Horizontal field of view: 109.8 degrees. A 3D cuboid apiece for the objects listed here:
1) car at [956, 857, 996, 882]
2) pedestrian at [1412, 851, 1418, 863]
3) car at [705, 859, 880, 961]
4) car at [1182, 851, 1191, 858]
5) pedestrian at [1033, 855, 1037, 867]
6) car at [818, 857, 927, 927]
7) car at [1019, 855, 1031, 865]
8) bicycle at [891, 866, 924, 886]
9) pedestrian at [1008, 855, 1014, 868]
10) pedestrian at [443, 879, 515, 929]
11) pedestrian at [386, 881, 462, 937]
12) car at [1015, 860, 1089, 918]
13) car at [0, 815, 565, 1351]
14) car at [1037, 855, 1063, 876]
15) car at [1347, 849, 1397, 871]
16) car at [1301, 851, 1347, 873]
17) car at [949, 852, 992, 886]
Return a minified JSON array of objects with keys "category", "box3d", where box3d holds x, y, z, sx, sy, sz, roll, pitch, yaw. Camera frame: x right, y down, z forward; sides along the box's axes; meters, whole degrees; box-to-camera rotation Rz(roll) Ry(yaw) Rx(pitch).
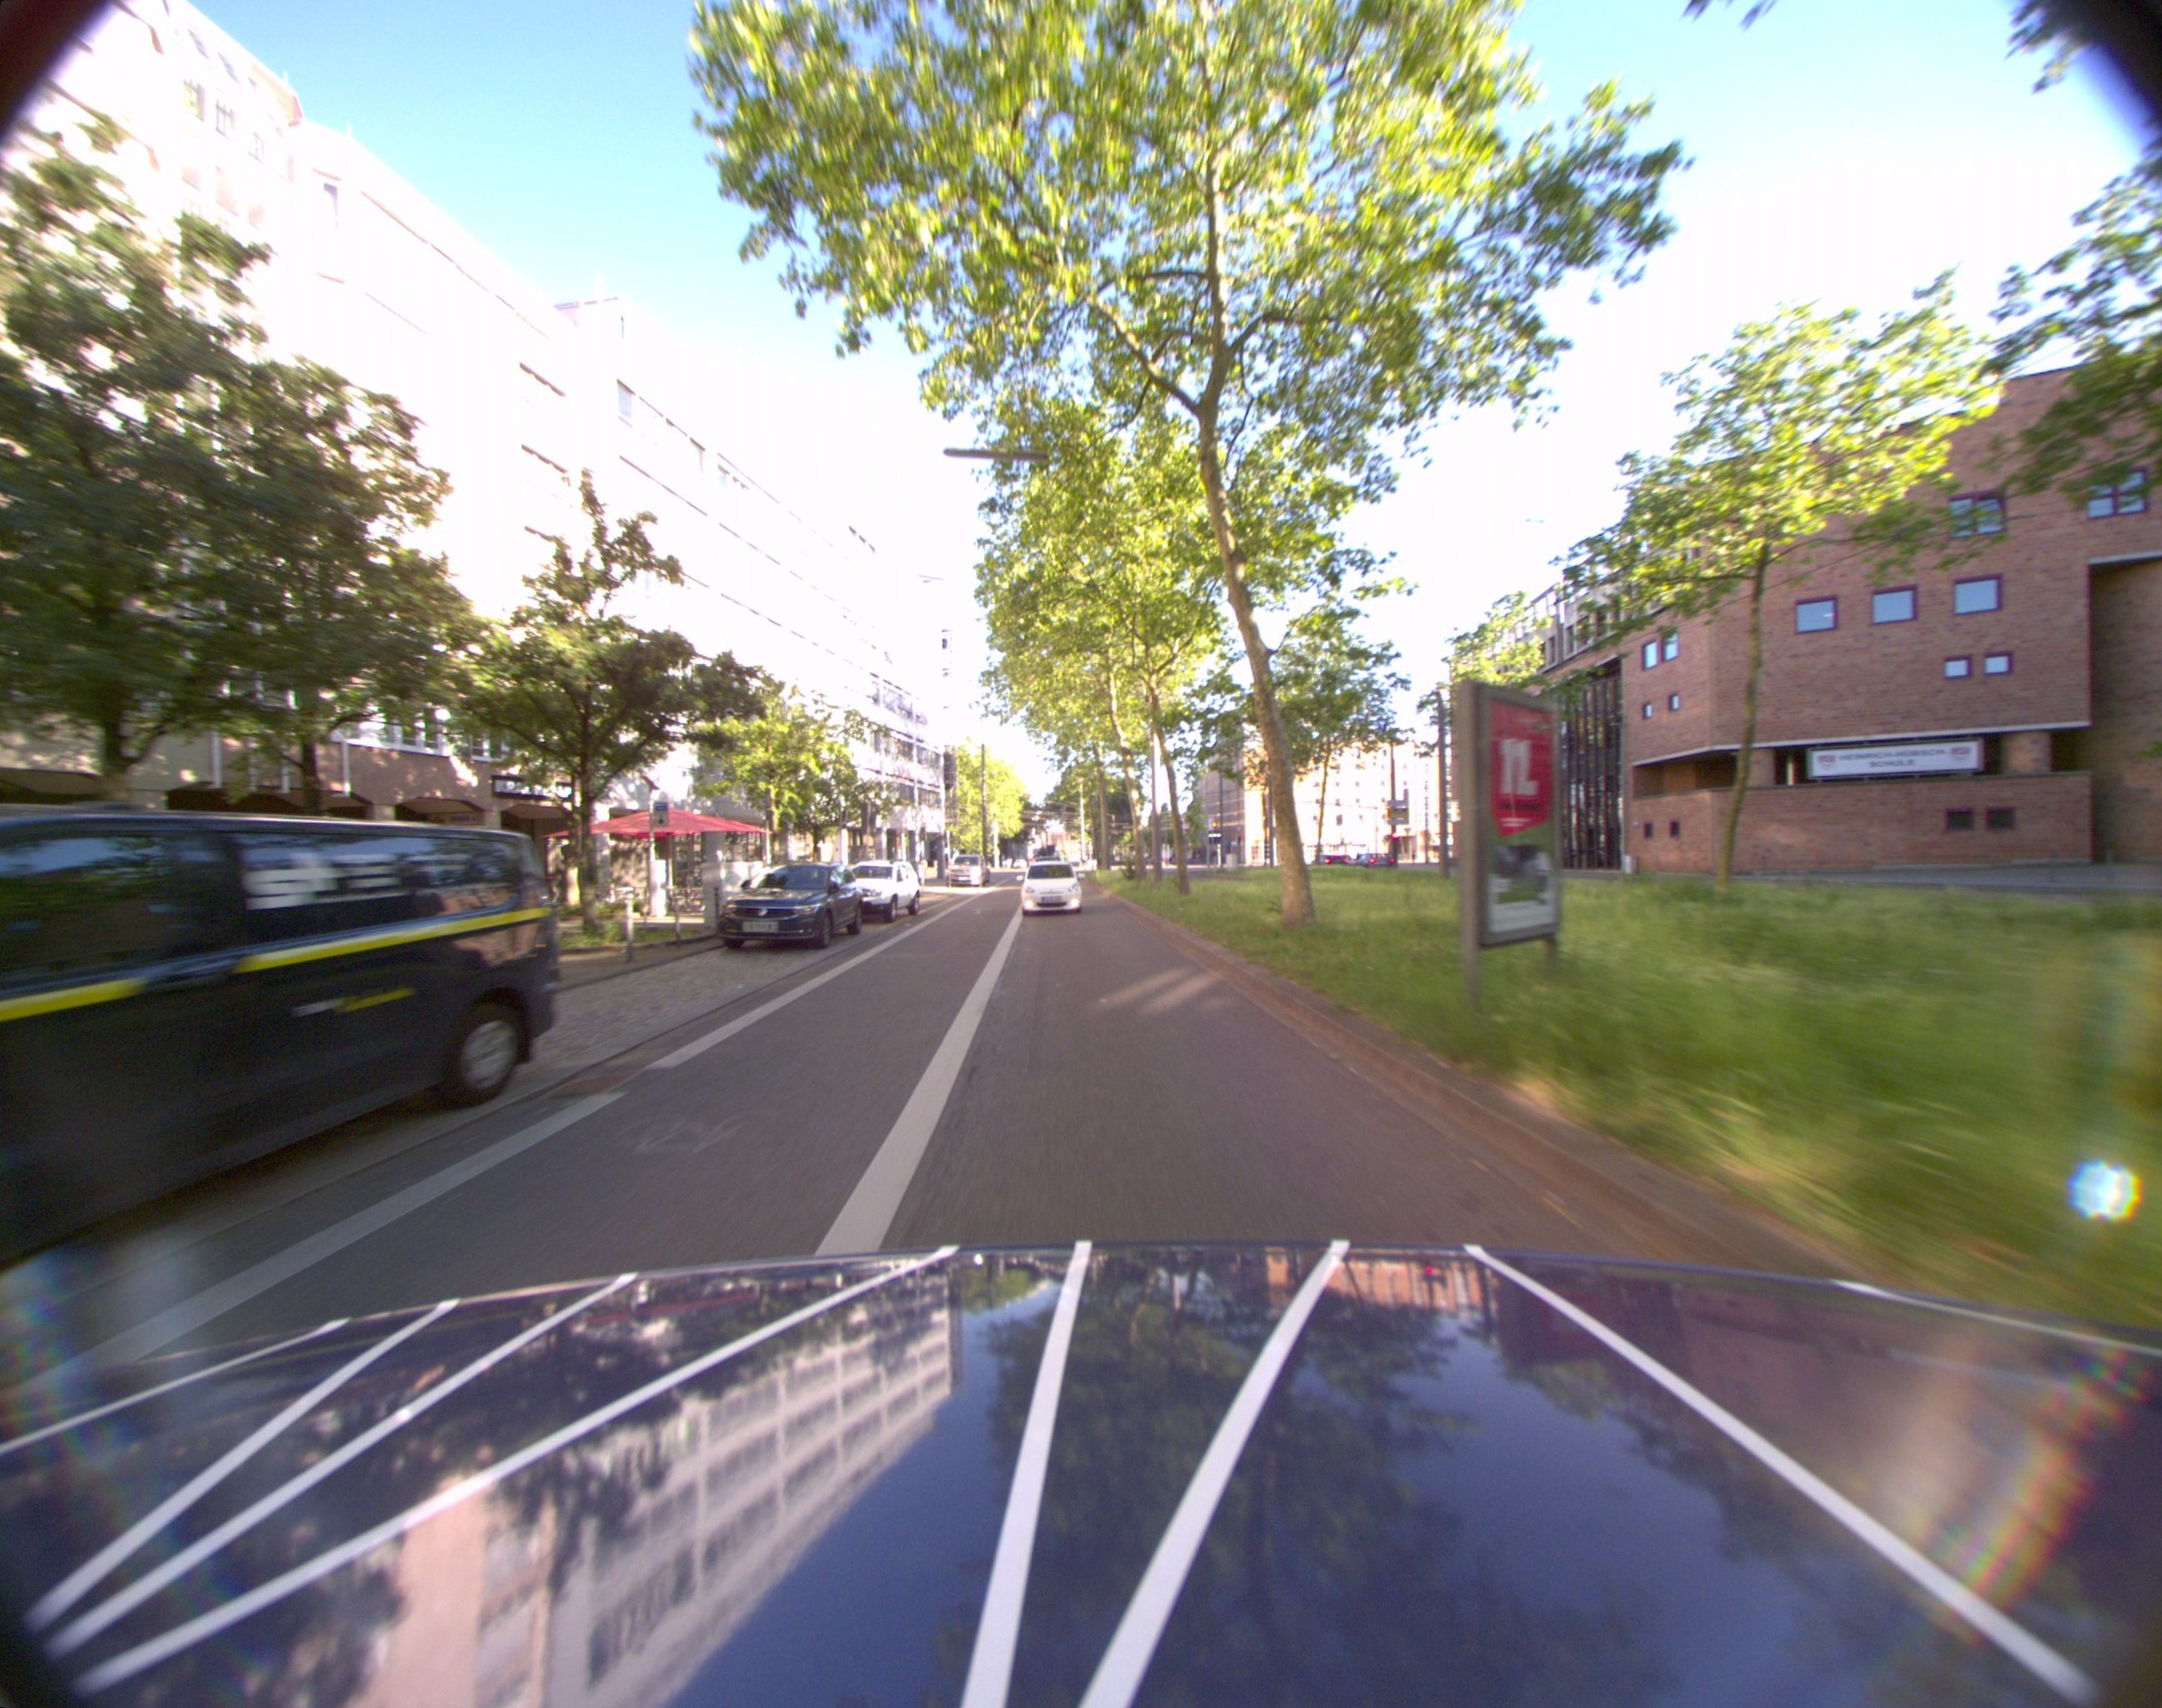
[{"category":"car","box3d":[-6.940,1.001,50.596,1.921,1.631,4.018,0,0,3]},{"category":"pedestrian","box3d":[39.534,0.351,89.940,0.566,1.495,0.512,-1,-1,21]},{"category":"car","box3d":[-5.571,0.979,15.345,1.802,1.714,4.574,0,0,0]},{"category":"car","box3d":[25.111,0.023,180.461,1.703,1.641,4.000,-2,0,2]},{"category":"pedestrian","box3d":[-7.730,1.130,127.502,0.614,2.002,0.530,-1,0,-3]},{"category":"car","box3d":[-5.631,0.953,21.103,1.802,1.714,4.459,0,0,0]},{"category":"car","box3d":[-9.612,1.017,129.820,1.866,1.724,4.018,-1,0,-3]},{"category":"bicycle","box3d":[-10.199,1.306,44.733,1.778,1.100,0.666,-1,0,-3]},{"category":"pedestrian","box3d":[-11.711,1.242,126.453,0.657,2.002,0.645,-2,1,-44]},{"category":"pedestrian","box3d":[-15.482,1.277,19.566,0.887,1.205,1.124,-1,0,8]},{"category":"pedestrian","box3d":[-15.664,1.295,18.132,0.931,1.243,0.968,-1,0,2]},{"category":"car","box3d":[-0.760,0.974,22.731,1.720,1.442,4.425,-4,0,3]},{"category":"car","box3d":[-4.947,0.820,3.318,2.043,1.932,5.196,0,0,-3]},{"category":"car","box3d":[-2.509,0.910,62.007,1.999,1.626,4.451,-1,0,-1]},{"category":"car","box3d":[20.132,0.398,52.767,1.675,1.420,4.149,-1,0,-3]},{"category":"car","box3d":[16.546,0.553,51.924,1.617,1.420,4.149,-1,0,-3]},{"category":"car","box3d":[-6.499,0.853,44.983,1.922,1.893,4.860,0,0,-1]}]
